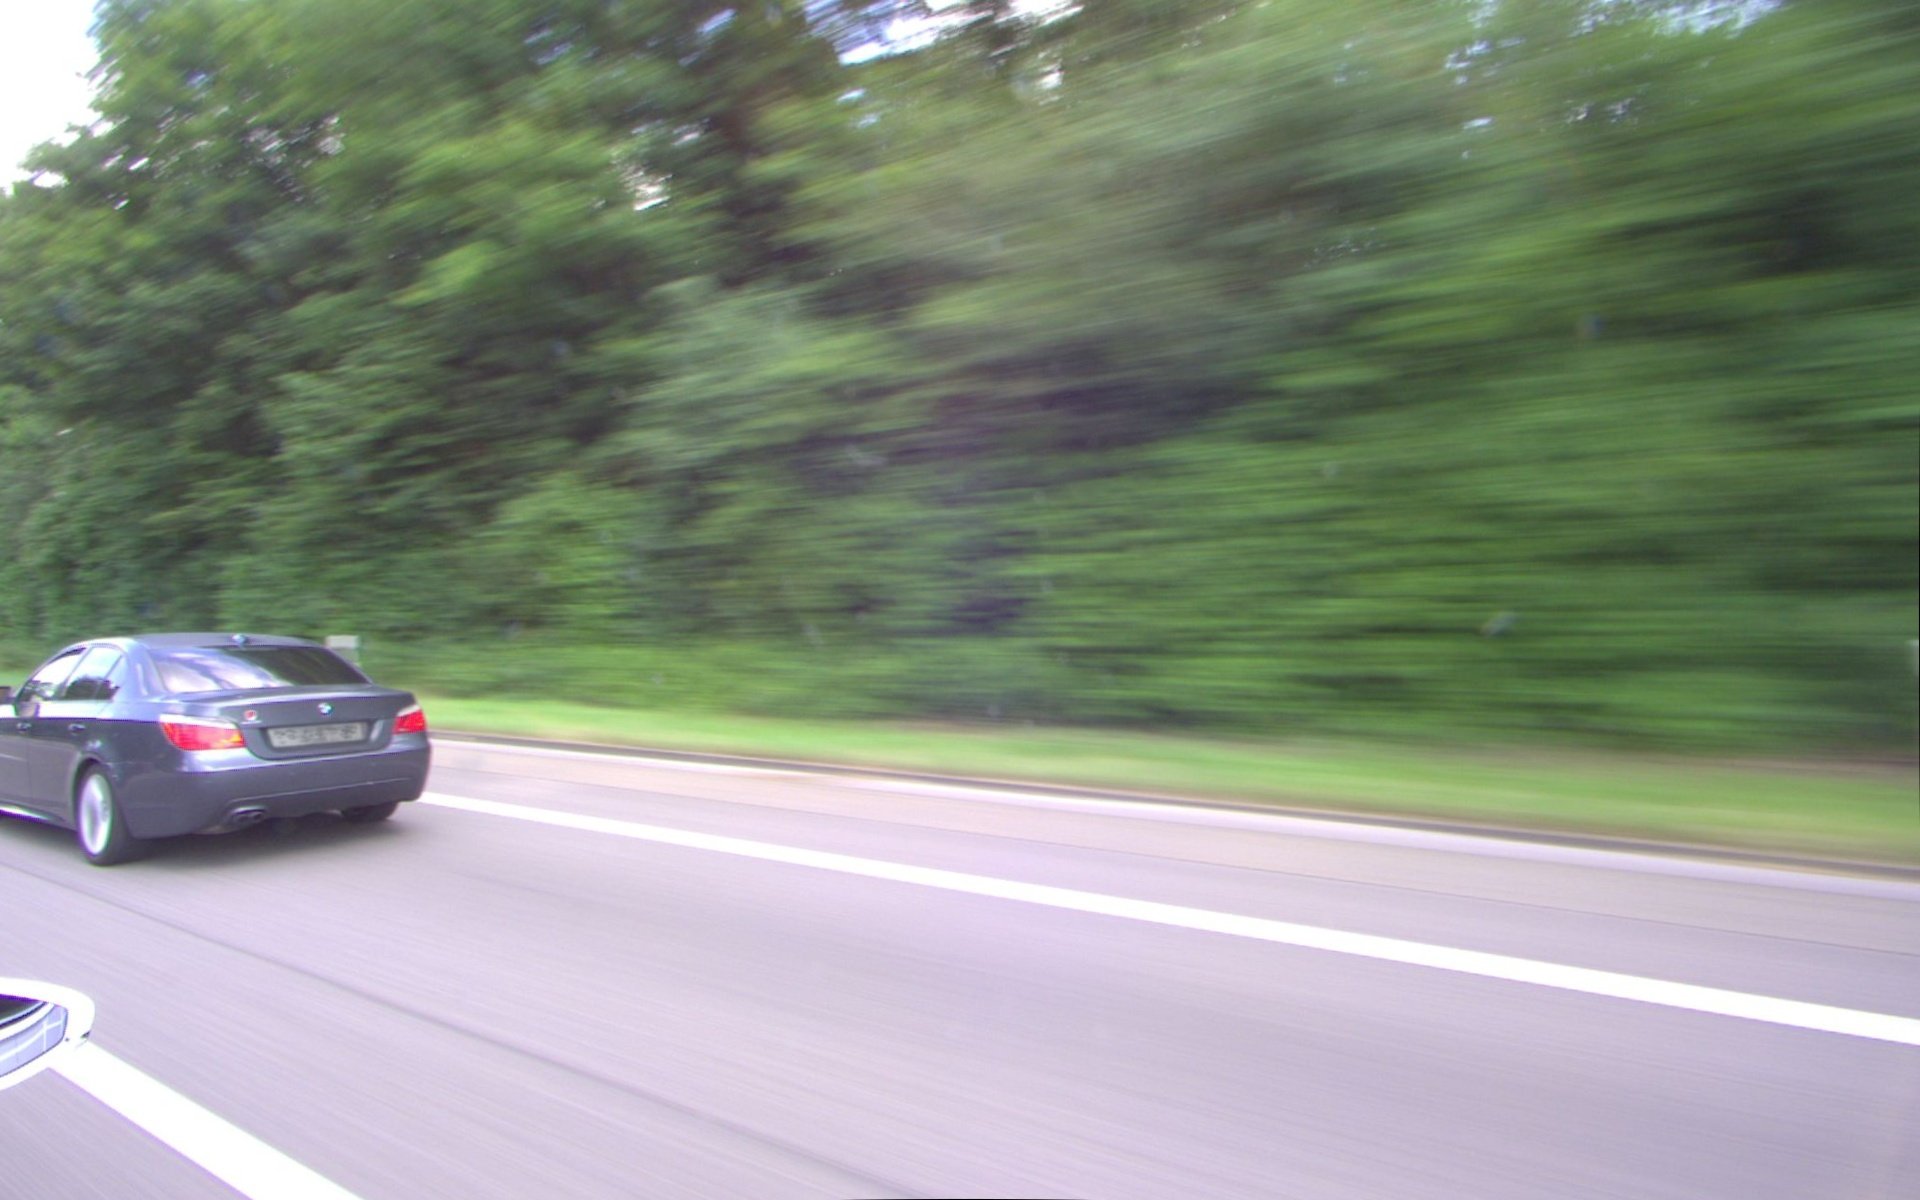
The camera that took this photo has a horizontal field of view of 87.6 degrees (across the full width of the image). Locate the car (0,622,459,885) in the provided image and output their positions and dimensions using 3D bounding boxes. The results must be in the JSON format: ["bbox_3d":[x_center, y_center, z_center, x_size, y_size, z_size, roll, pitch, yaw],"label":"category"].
[{"bbox_3d":[-6.103,0.927,7.736,4.810,1.494,1.771,-1,-2,32],"label":"car"}]
